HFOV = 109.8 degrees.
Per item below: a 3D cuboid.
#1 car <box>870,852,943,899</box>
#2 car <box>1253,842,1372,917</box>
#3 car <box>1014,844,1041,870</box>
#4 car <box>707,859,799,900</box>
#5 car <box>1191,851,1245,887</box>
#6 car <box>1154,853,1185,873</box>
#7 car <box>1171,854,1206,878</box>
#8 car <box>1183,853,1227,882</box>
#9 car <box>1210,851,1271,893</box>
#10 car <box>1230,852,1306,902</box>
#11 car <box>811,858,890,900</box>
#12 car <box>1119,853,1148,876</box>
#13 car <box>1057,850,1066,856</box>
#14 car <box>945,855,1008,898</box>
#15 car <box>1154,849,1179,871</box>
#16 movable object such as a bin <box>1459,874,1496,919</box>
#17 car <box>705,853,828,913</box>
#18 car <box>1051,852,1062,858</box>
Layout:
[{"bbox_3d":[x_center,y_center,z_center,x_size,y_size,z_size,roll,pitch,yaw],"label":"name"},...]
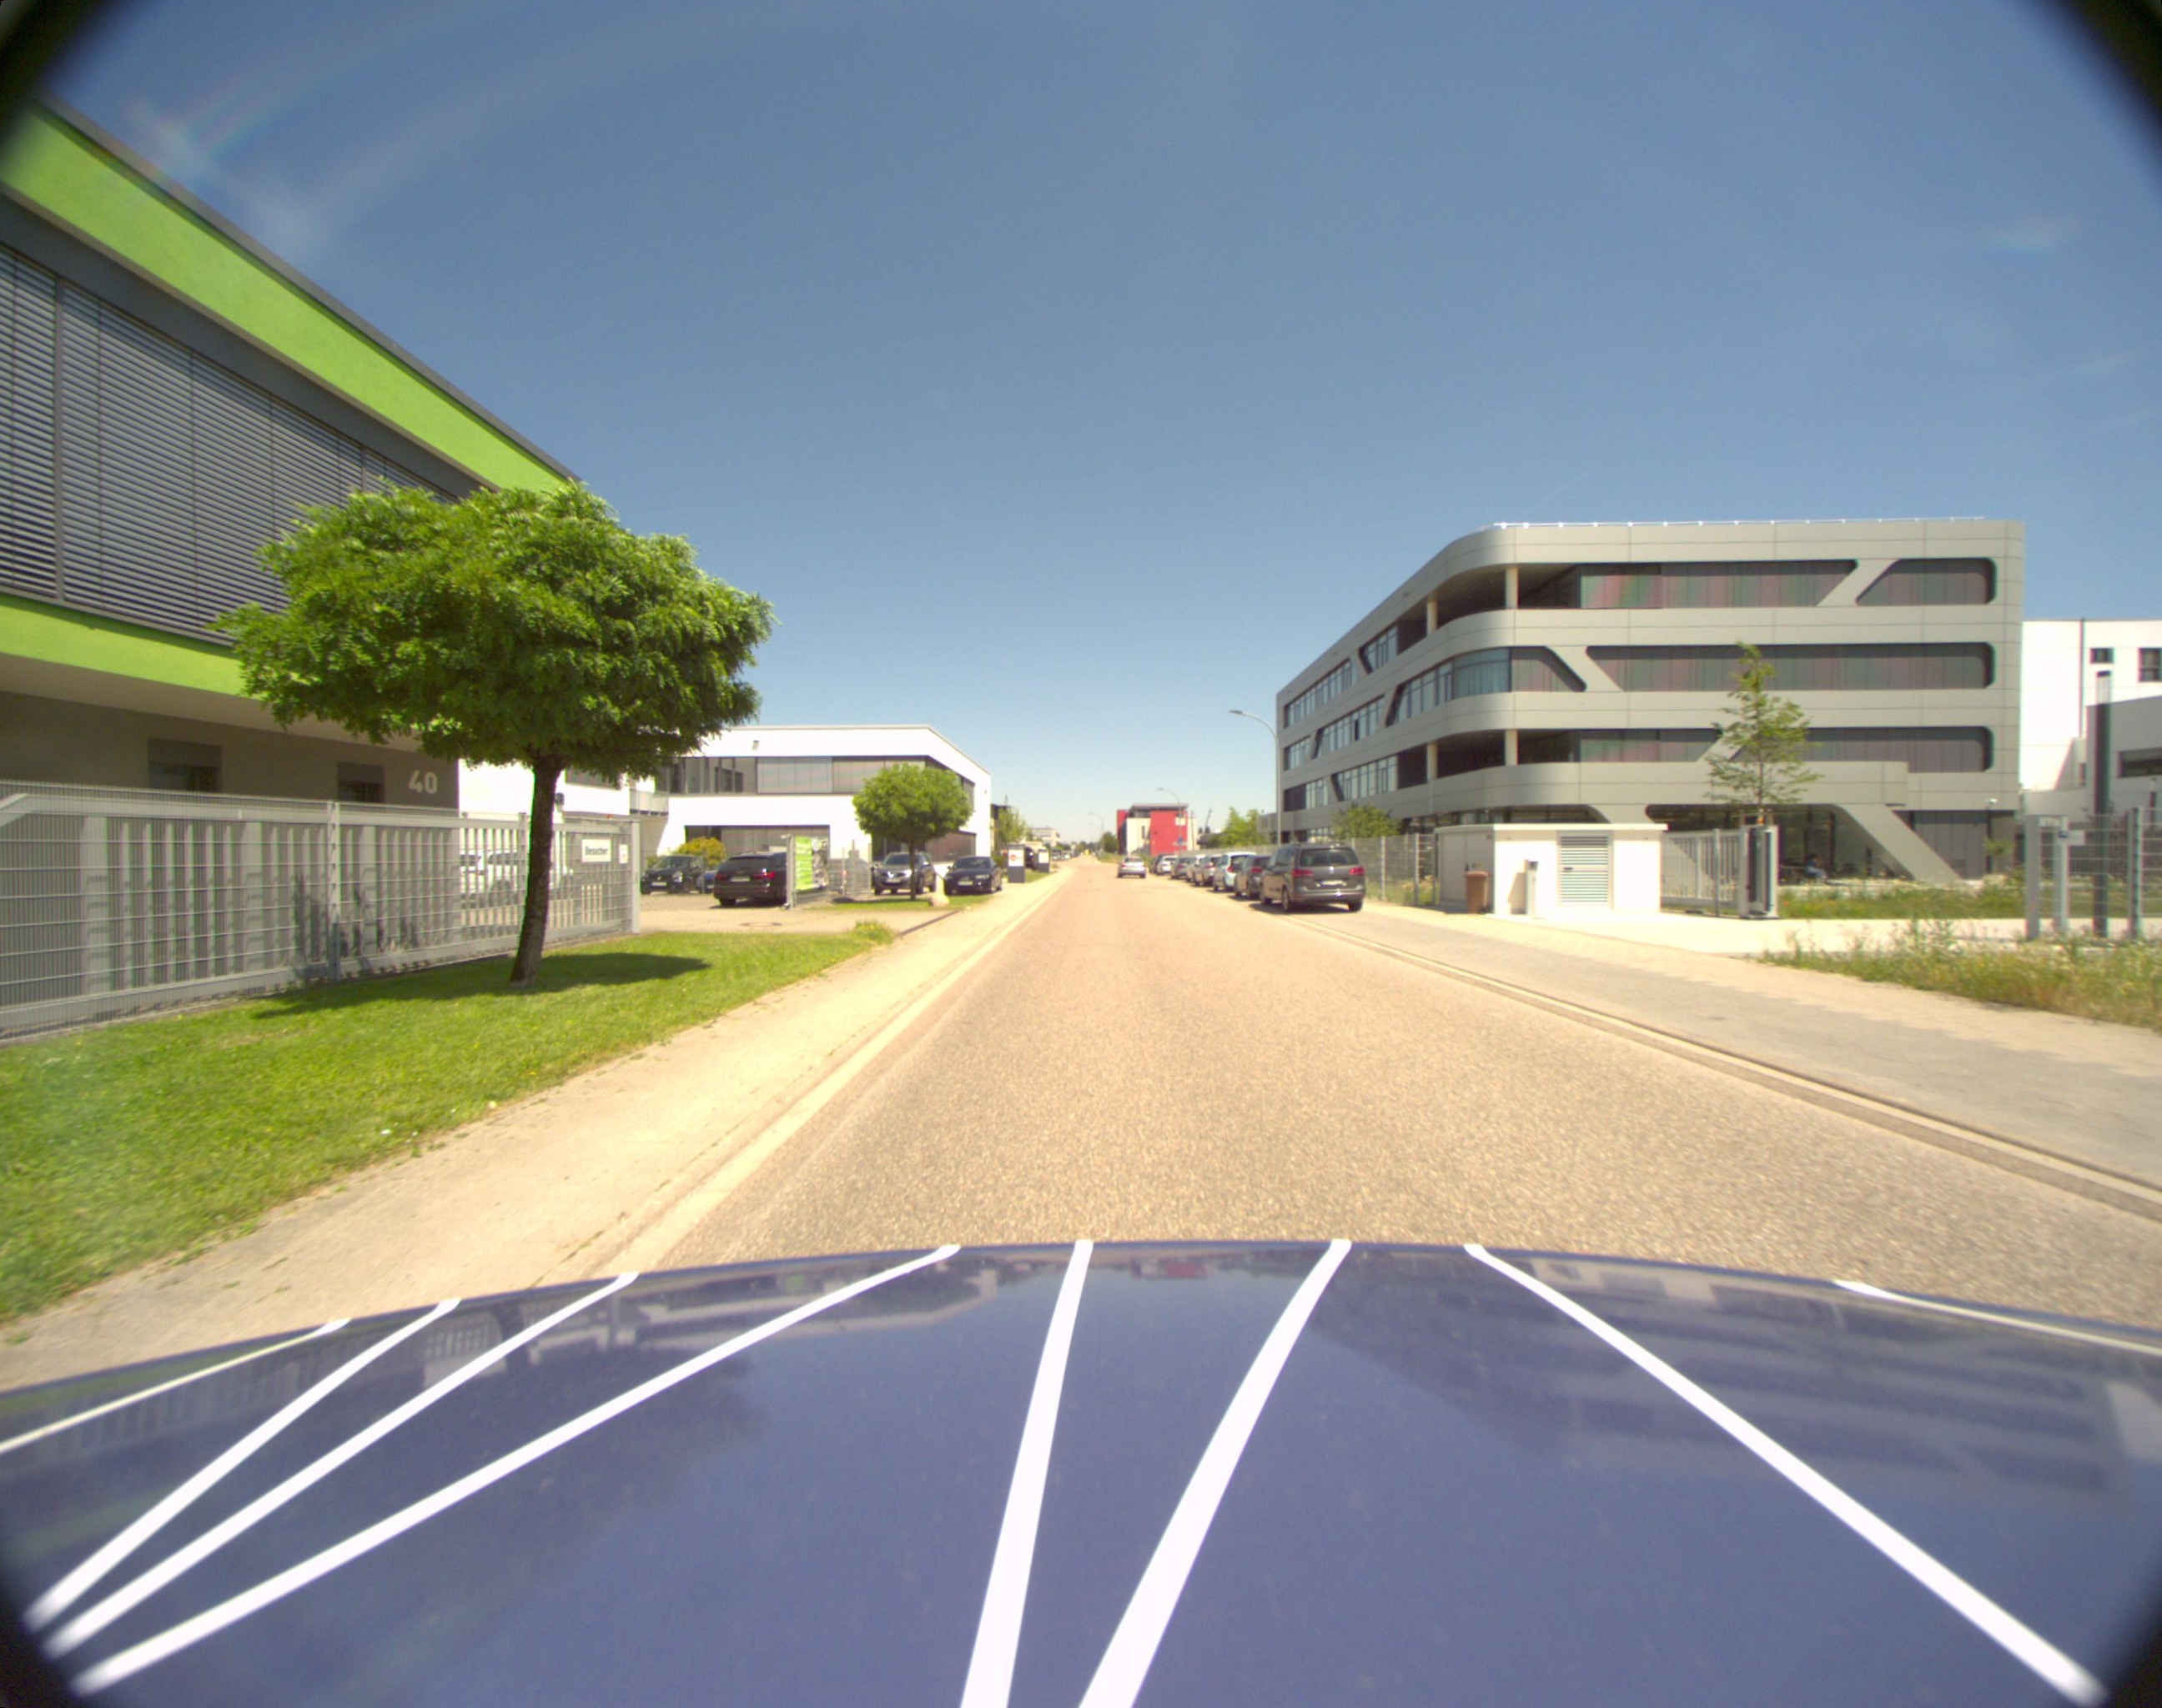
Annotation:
[{"bbox_3d":[-6.570,0.745,29.017,1.727,1.623,4.022,-1,0,1],"label":"car"},{"bbox_3d":[5.962,0.601,20.194,1.807,1.709,4.622,-2,0,1],"label":"car"},{"bbox_3d":[-4.497,0.300,64.649,1.999,2.001,5.801,0,-2,0],"label":"car"},{"bbox_3d":[-12.685,0.932,29.662,1.727,1.427,4.022,-1,0,1],"label":"car"},{"bbox_3d":[6.424,0.669,36.073,1.707,1.527,4.572,-2,0,0],"label":"car"},{"bbox_3d":[6.524,0.679,56.196,1.704,1.378,3.937,-1,0,-2],"label":"car"},{"bbox_3d":[6.639,0.741,47.373,1.688,1.378,4.640,-1,0,2],"label":"car"},{"bbox_3d":[6.740,0.686,41.691,1.707,1.435,4.439,-2,0,0],"label":"car"},{"bbox_3d":[6.294,0.667,30.321,1.639,1.527,3.657,-2,0,0],"label":"car"},{"bbox_3d":[6.152,0.702,25.409,1.638,1.491,3.972,-2,0,2],"label":"car"},{"bbox_3d":[-8.816,0.899,29.373,1.727,1.441,4.022,-1,0,1],"label":"car"},{"bbox_3d":[3.466,0.670,50.812,1.708,1.403,4.784,2,0,1],"label":"car"},{"bbox_3d":[-4.176,-0.126,162.159,1.828,1.269,3.886,0,0,2],"label":"car"},{"bbox_3d":[-3.864,0.787,28.694,1.696,1.419,4.246,-1,0,1],"label":"car"},{"bbox_3d":[6.978,0.493,62.451,1.774,1.641,4.852,-1,0,3],"label":"car"},{"bbox_3d":[8.675,0.917,16.604,0.602,0.940,0.517,-1,1,41],"label":"movable object such as a bin"},{"bbox_3d":[-8.791,0.751,21.662,1.742,1.390,4.053,0,2,1],"label":"car"},{"bbox_3d":[-4.617,0.192,145.865,1.828,1.269,3.886,0,0,2],"label":"car"}]
